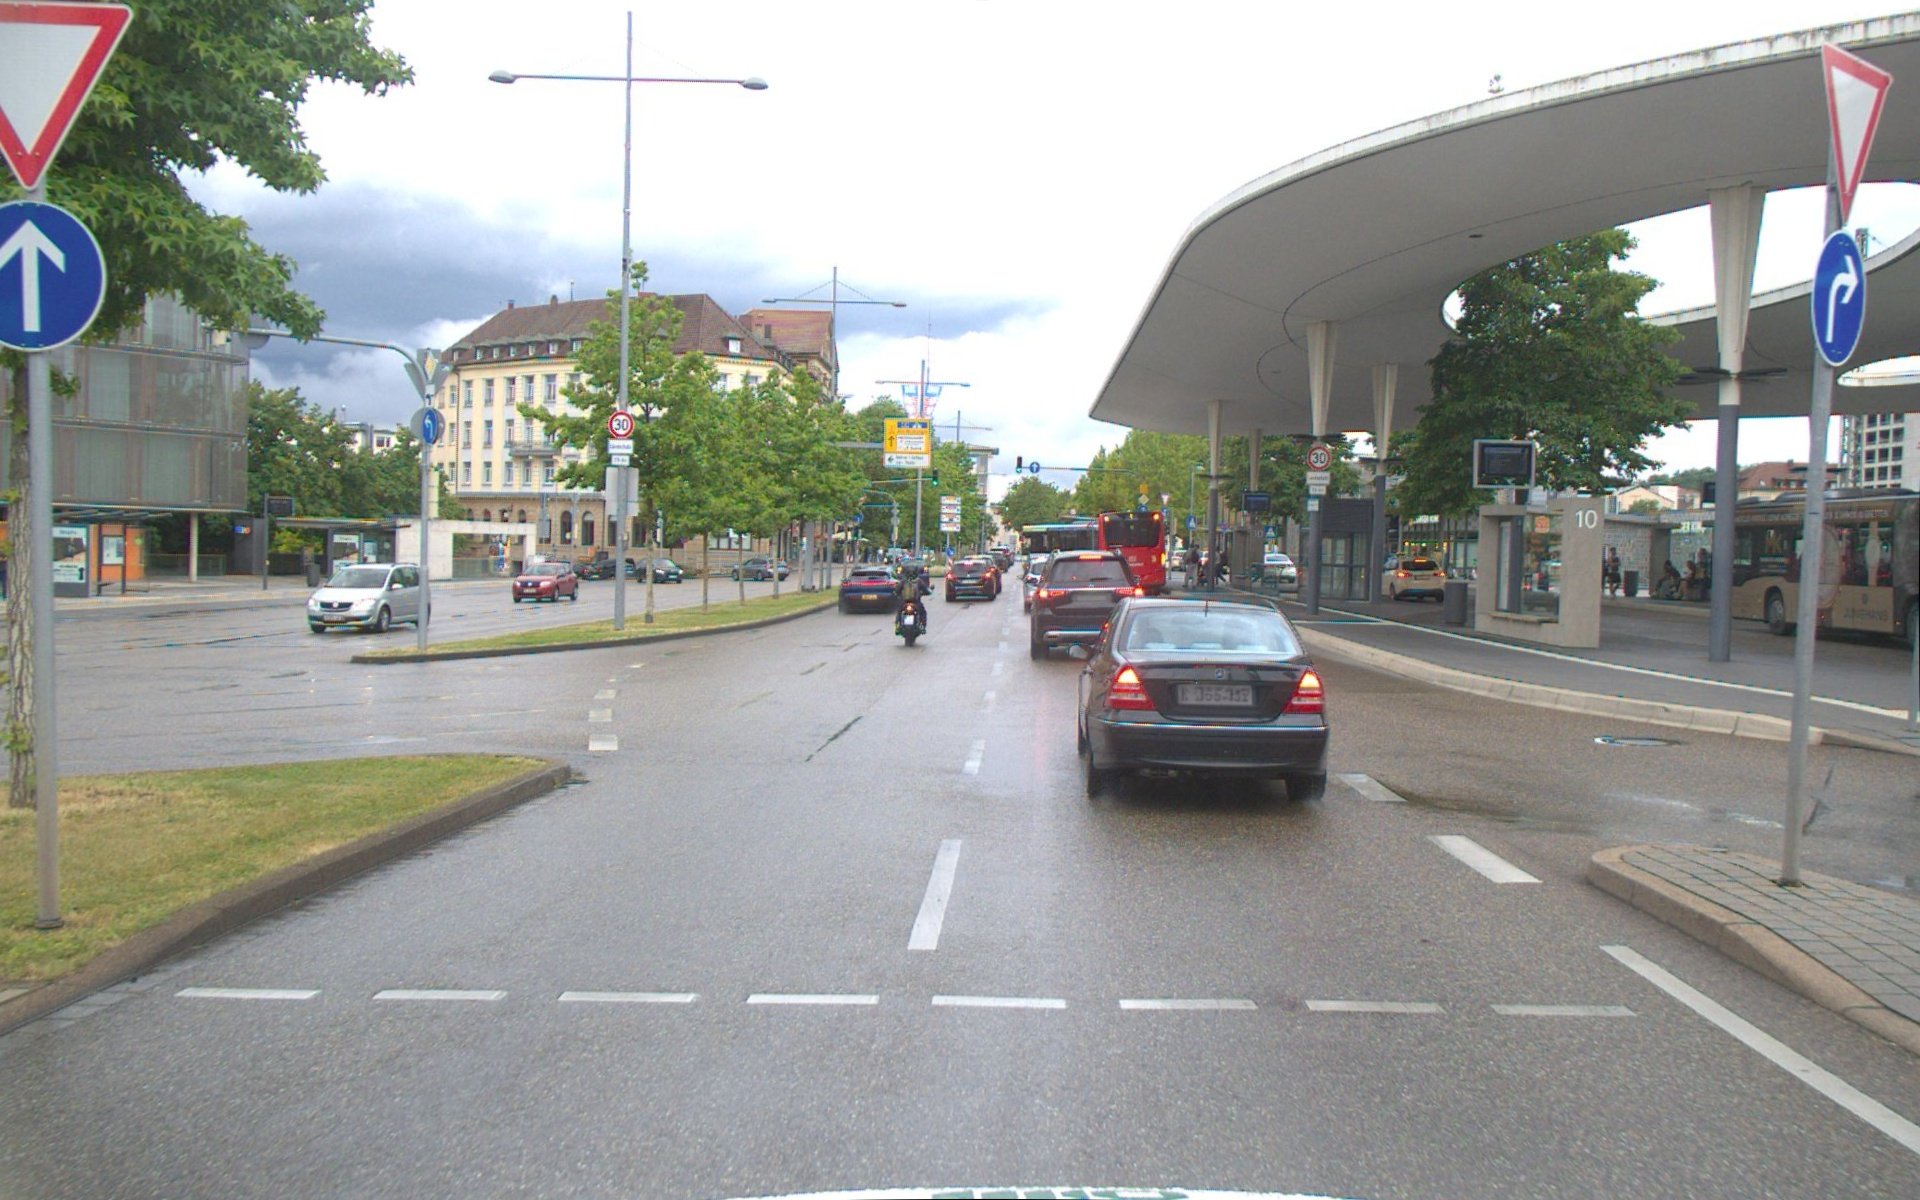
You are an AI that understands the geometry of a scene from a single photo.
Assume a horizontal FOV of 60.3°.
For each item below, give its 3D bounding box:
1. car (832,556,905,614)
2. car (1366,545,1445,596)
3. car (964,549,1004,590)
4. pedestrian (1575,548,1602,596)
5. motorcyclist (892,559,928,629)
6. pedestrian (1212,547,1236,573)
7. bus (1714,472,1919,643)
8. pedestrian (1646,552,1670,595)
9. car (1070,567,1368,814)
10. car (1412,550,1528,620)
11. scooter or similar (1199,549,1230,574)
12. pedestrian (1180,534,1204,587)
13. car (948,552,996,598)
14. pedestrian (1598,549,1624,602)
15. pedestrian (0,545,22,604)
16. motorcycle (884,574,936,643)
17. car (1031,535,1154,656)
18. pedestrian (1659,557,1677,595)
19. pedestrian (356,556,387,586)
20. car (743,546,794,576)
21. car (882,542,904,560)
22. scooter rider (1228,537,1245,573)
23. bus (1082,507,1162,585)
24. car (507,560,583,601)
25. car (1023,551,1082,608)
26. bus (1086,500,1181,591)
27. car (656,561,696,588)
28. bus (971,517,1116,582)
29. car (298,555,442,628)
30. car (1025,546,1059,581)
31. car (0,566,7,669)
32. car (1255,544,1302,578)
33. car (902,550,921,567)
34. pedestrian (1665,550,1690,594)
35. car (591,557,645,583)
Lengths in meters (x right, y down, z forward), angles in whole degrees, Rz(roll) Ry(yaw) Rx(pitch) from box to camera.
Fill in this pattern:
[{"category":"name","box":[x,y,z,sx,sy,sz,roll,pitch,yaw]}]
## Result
[{"category":"car","box":[-2.769,-0.500,51.014,1.778,1.597,4.406,-2,2,2]},{"category":"car","box":[15.522,-1.061,57.825,1.676,1.691,4.241,1,2,1]},{"category":"car","box":[1.032,-1.292,68.747,1.543,1.594,3.873,-2,2,2]},{"category":"pedestrian","box":[21.506,-0.961,56.588,0.586,1.609,0.710,1,-1,-7]},{"category":"motorcyclist","box":[-0.985,-0.130,32.862,0.628,1.370,0.689,0,1,5]},{"category":"pedestrian","box":[10.991,-1.666,68.873,0.894,1.002,0.634,1,-3,16]},{"category":"bus","box":[18.905,-0.862,32.928,2.665,3.096,12.094,0,2,2]},{"category":"pedestrian","box":[24.104,-0.912,57.127,0.548,1.469,0.613,0,1,-1]},{"category":"car","box":[1.789,0.533,12.657,1.662,1.487,4.305,-1,2,1]},{"category":"car","box":[11.475,-0.367,37.380,1.613,1.478,3.238,1,2,0]},{"category":"scooter or similar","box":[10.626,-1.597,69.046,1.216,1.030,0.765,1,1,16]},{"category":"pedestrian","box":[9.227,-1.572,65.705,0.761,2.048,0.782,3,1,15]},{"category":"car","box":[0.456,-0.941,60.414,1.542,1.530,3.873,-2,2,3]},{"category":"pedestrian","box":[21.544,-0.809,54.732,0.549,1.721,0.613,1,2,-5]},{"category":"pedestrian","box":[-28.155,-0.757,48.763,0.464,1.713,0.764,0,1,9]},{"category":"motorcycle","box":[-0.972,0.144,32.685,0.776,1.284,1.856,-1,2,6]},{"category":"car","box":[2.259,-0.154,29.315,1.917,1.908,4.876,-2,2,2]},{"category":"pedestrian","box":[24.152,-0.835,56.393,0.450,1.272,0.561,2,2,31]},{"category":"pedestrian","box":[-26.651,-1.320,74.860,0.956,1.289,0.849,5,3,23]},{"category":"car","box":[-12.078,-2.463,104.095,1.844,1.713,3.964,4,-1,-27]},{"category":"car","box":[-6.295,-4.637,156.171,1.743,1.594,3.431,-2,2,2]},{"category":"scooter rider","box":[11.515,-1.875,68.841,0.579,1.516,0.765,1,1,16]},{"category":"bus","box":[7.327,-2.469,75.941,3.222,3.346,8.854,0,2,3]},{"category":"car","box":[-16.464,-0.796,65.761,1.784,1.579,4.035,0,1,3]},{"category":"car","box":[2.791,-0.649,50.480,1.705,1.594,3.873,-2,2,2]},{"category":"bus","box":[6.862,-2.188,66.845,3.217,3.349,10.884,0,2,3]},{"category":"car","box":[-17.009,-1.530,98.940,1.655,1.554,4.615,-1,1,-19]},{"category":"bus","box":[5.360,-3.312,109.313,2.816,4.057,11.710,-1,2,-36]},{"category":"car","box":[-14.402,-0.250,40.635,1.809,1.681,4.421,1,1,2]},{"category":"car","box":[3.936,-1.780,79.785,1.543,1.594,3.873,-2,2,2]},{"category":"car","box":[-15.325,0.300,22.372,1.808,1.530,4.922,1,1,3]},{"category":"car","box":[16.693,-2.061,86.887,1.676,1.691,4.241,1,2,1]},{"category":"car","box":[-4.769,-4.118,162.451,1.543,1.594,3.431,-2,2,2]},{"category":"pedestrian","box":[24.147,-0.942,55.646,0.548,1.469,0.613,0,1,-1]},{"category":"car","box":[-24.872,-2.201,120.295,2.100,1.806,4.329,-2,2,-40]}]
